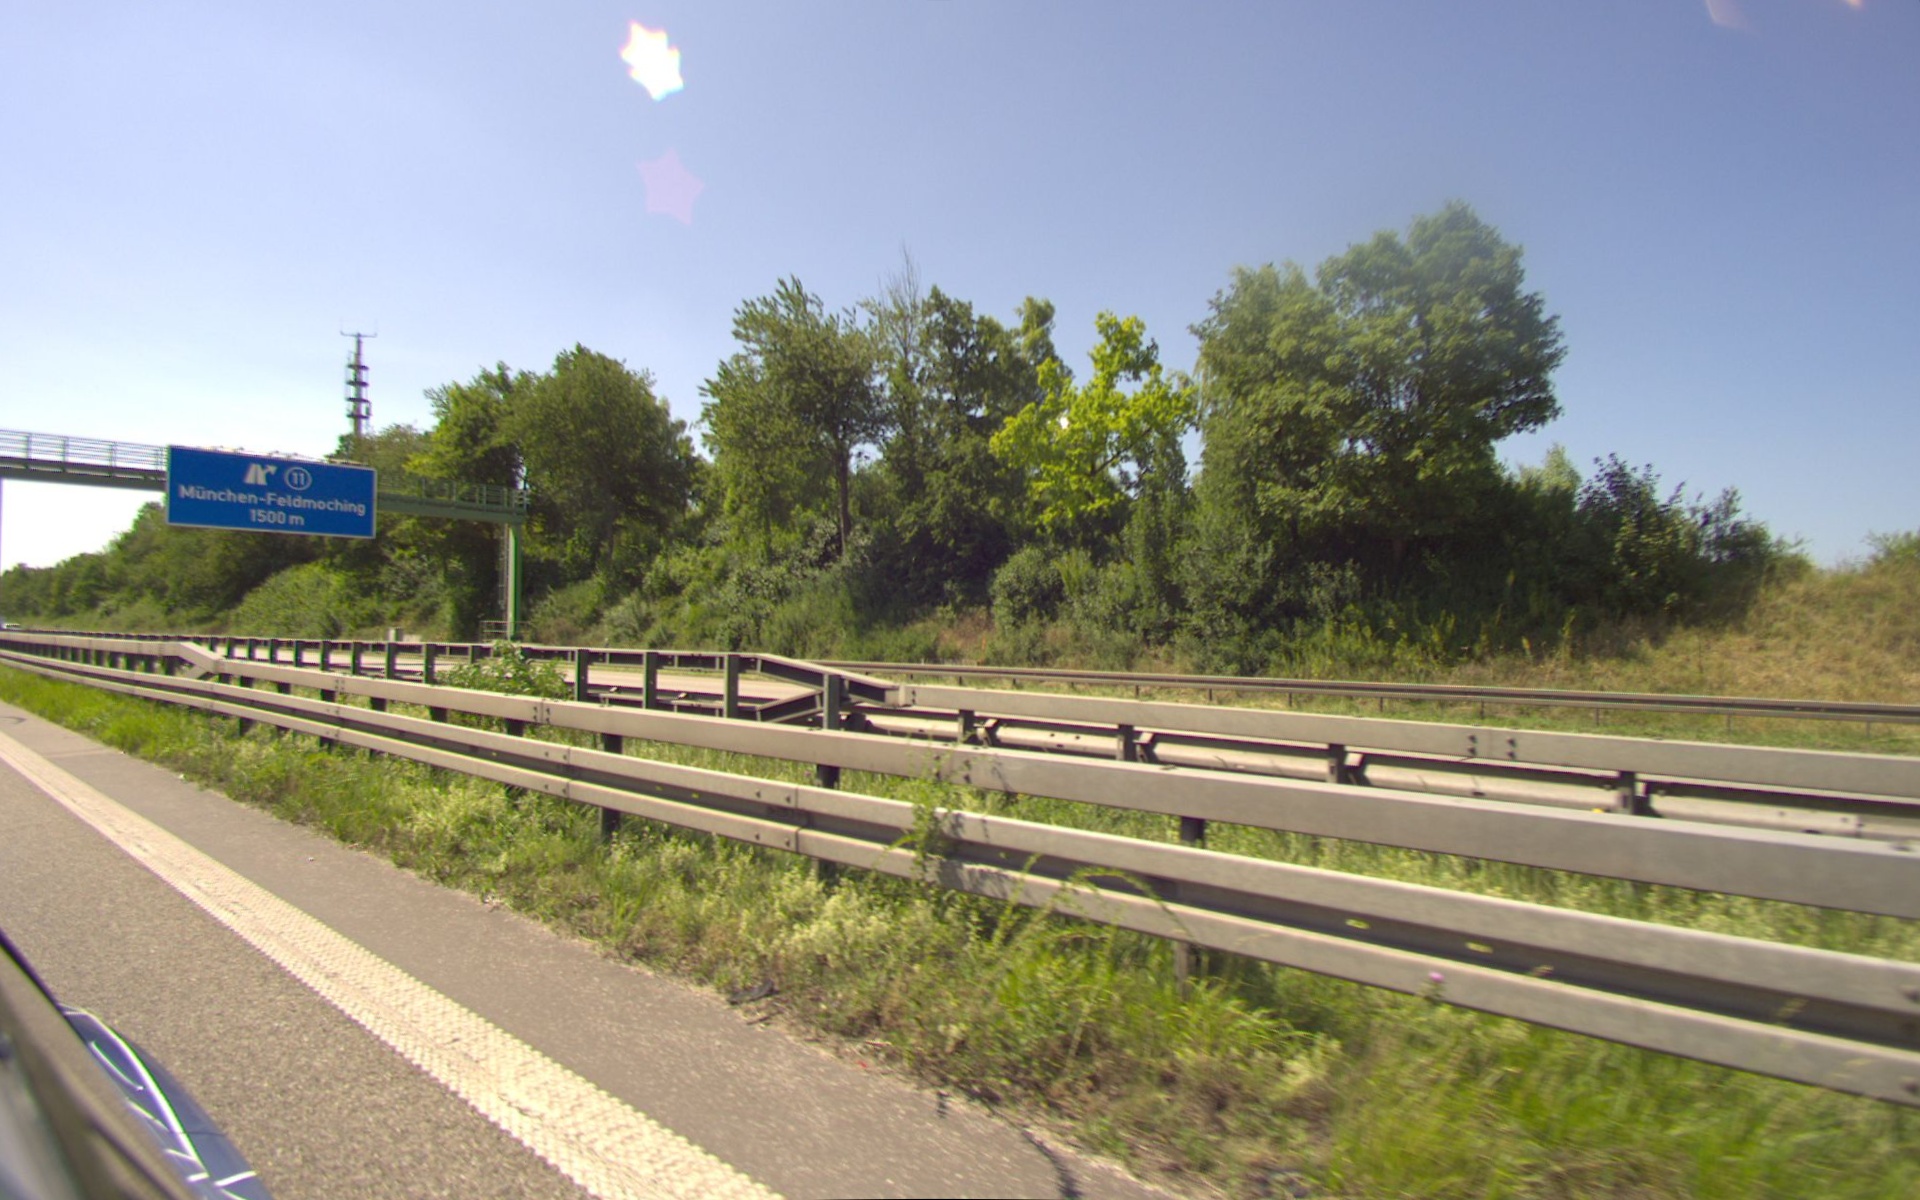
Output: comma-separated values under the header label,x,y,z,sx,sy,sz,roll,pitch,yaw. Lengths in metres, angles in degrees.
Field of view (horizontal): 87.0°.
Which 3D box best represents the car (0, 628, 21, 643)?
label,x,y,z,sx,sy,sz,roll,pitch,yaw
car,-101.647,3.803,108.097,3.882,1.475,1.647,-2,-5,43
